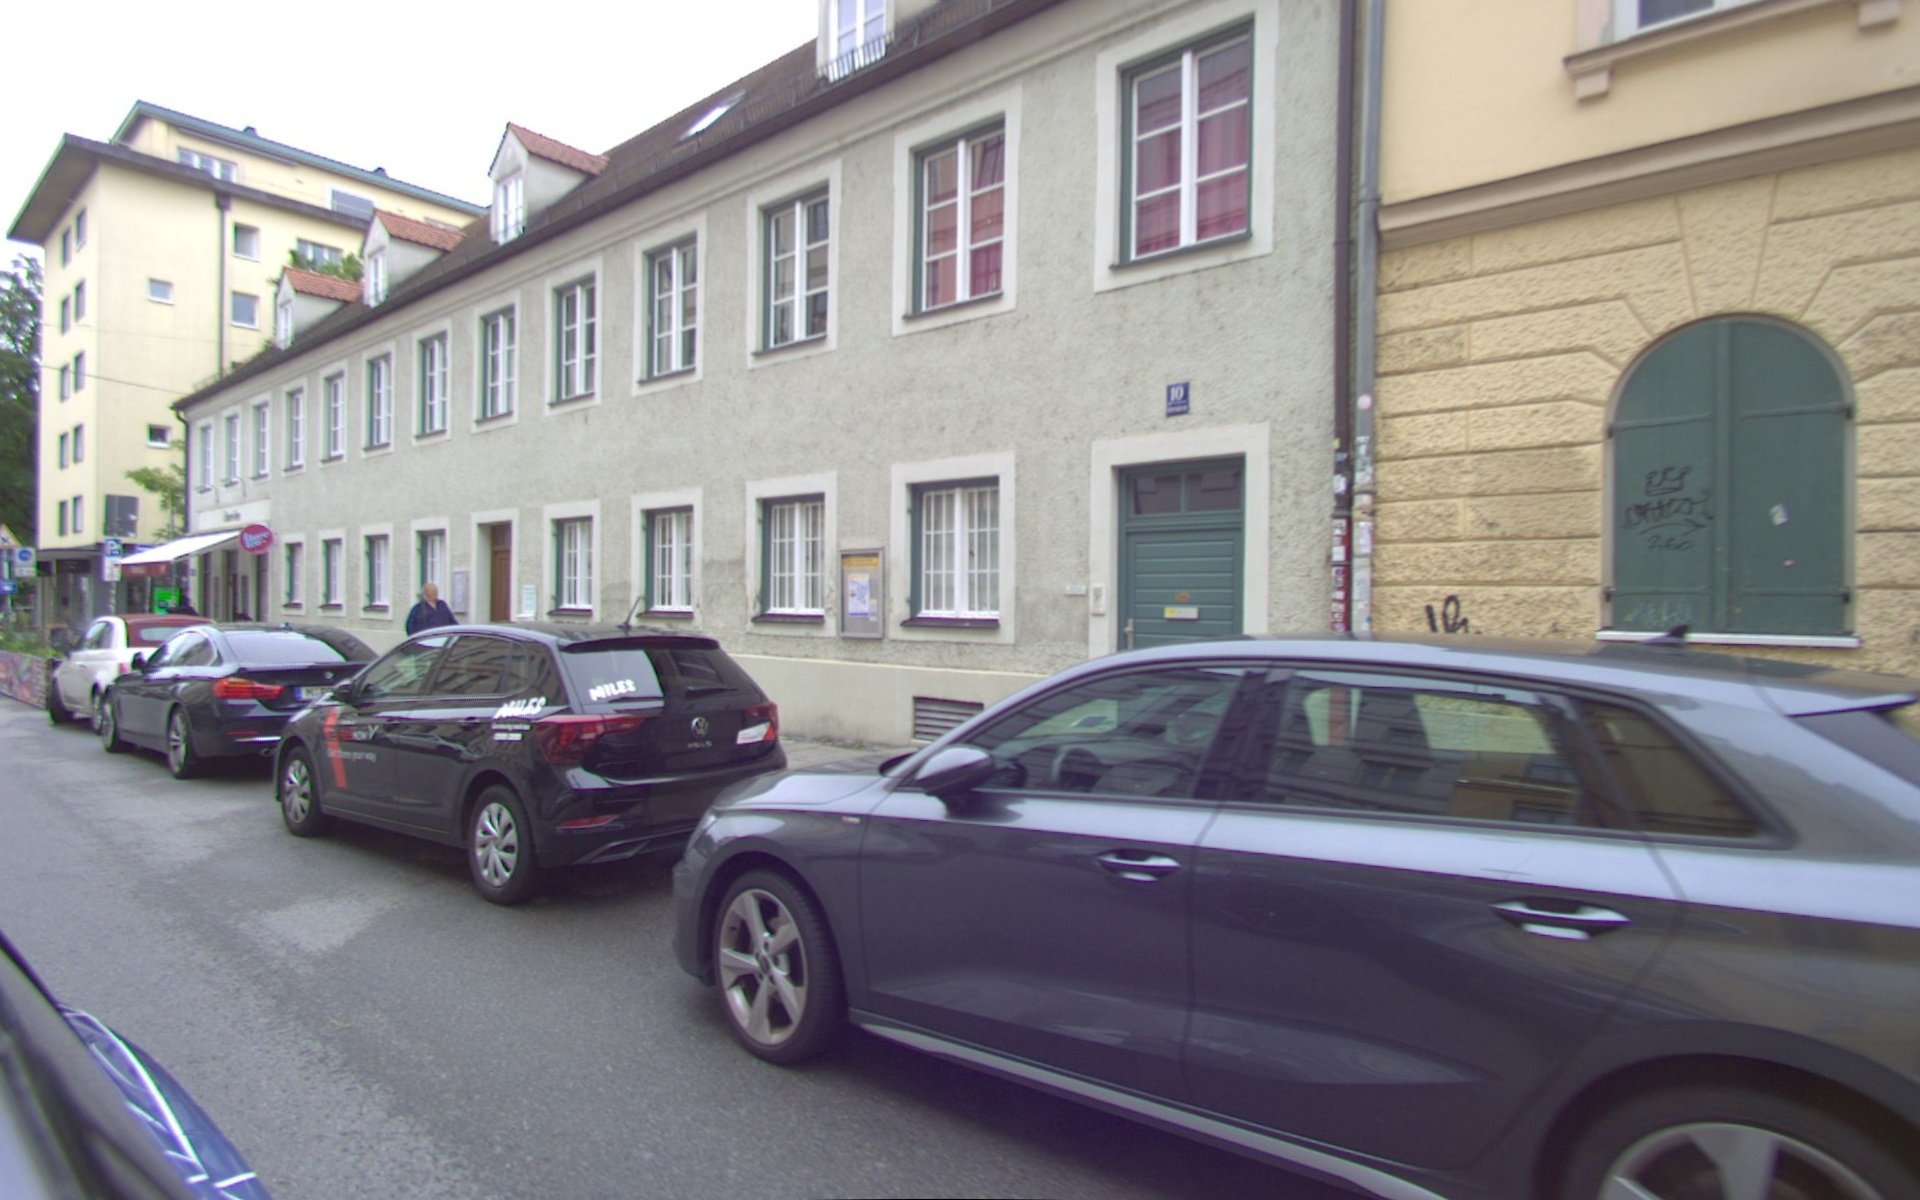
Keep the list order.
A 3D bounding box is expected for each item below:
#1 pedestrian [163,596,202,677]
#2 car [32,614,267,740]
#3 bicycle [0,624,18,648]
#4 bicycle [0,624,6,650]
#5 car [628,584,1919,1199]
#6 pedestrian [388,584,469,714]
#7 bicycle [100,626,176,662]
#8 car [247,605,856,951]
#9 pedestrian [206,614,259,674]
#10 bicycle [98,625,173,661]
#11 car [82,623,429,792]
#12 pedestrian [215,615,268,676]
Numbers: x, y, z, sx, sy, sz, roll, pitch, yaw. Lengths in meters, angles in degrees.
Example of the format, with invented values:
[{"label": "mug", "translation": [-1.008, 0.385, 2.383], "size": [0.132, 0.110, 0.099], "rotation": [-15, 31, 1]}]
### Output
[{"label": "pedestrian", "translation": [-17.730, 0.811, 23.075], "size": [0.877, 1.795, 0.523], "rotation": [1, -1, 41]}, {"label": "car", "translation": [-11.222, 0.947, 13.951], "size": [3.709, 1.486, 1.738], "rotation": [-1, 0, 38]}, {"label": "bicycle", "translation": [-48.417, 1.827, 51.079], "size": [0.573, 1.135, 2.305], "rotation": [-1, 0, -25]}, {"label": "bicycle", "translation": [-46.950, 1.790, 49.316], "size": [1.854, 1.219, 0.555], "rotation": [-1, 0, 44]}, {"label": "car", "translation": [0.981, 0.748, 3.136], "size": [4.125, 1.452, 1.799], "rotation": [-1, -2, 37]}, {"label": "pedestrian", "translation": [-8.144, 0.729, 15.521], "size": [0.827, 1.912, 0.814], "rotation": [1, -1, 40]}, {"label": "bicycle", "translation": [-25.716, 1.362, 31.676], "size": [0.392, 1.042, 1.798], "rotation": [-2, 0, 43]}, {"label": "car", "translation": [-2.768, 0.793, 6.406], "size": [4.195, 1.507, 1.738], "rotation": [0, -1, 38]}, {"label": "pedestrian", "translation": [-16.310, 0.969, 22.689], "size": [0.693, 1.299, 0.795], "rotation": [1, -1, 41]}, {"label": "bicycle", "translation": [-26.009, 1.357, 31.955], "size": [0.392, 1.042, 1.798], "rotation": [-2, 0, 43]}, {"label": "car", "translation": [-7.385, 0.934, 10.415], "size": [4.681, 1.349, 1.780], "rotation": [-1, -1, 40]}, {"label": "pedestrian", "translation": [-15.765, 0.988, 22.213], "size": [0.693, 1.300, 0.795], "rotation": [1, -1, 41]}]
